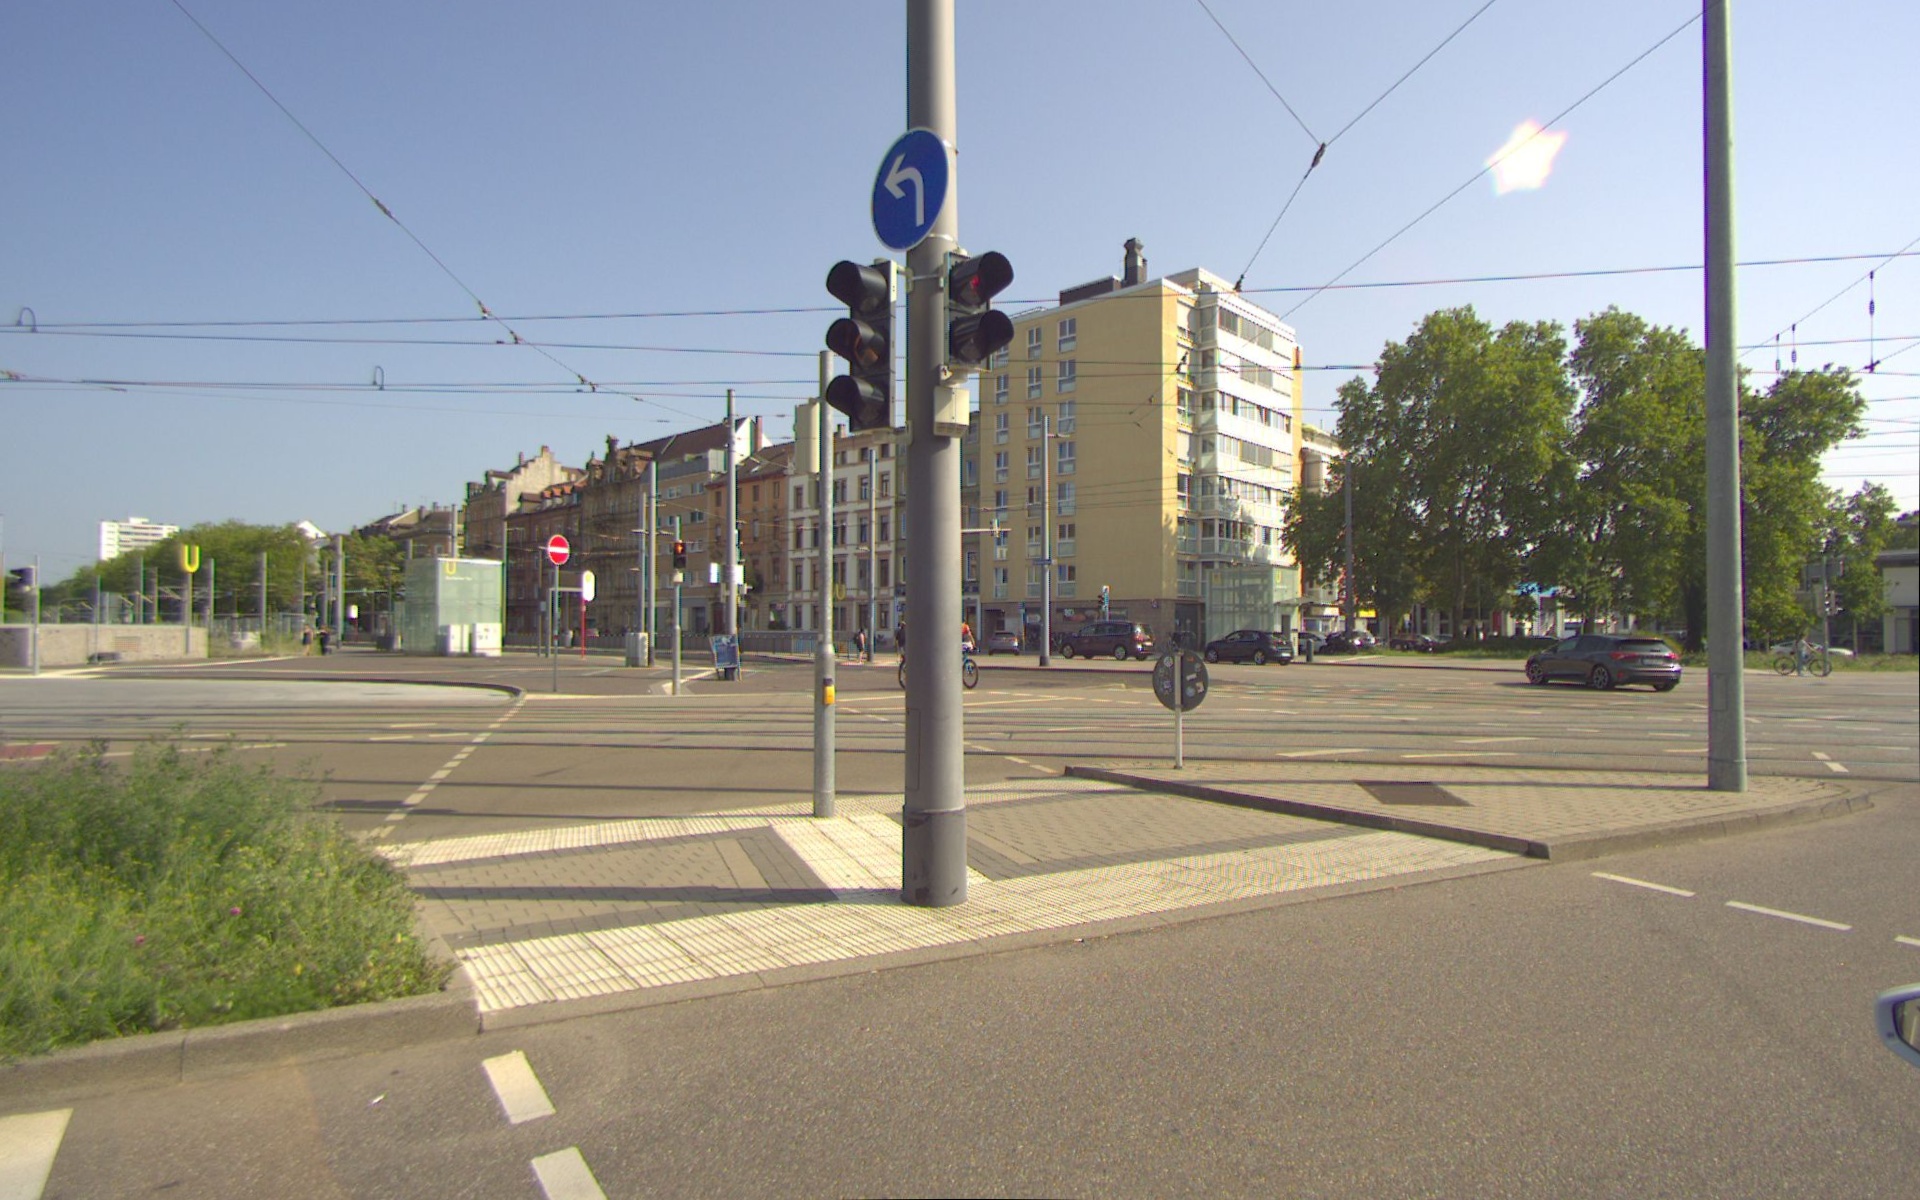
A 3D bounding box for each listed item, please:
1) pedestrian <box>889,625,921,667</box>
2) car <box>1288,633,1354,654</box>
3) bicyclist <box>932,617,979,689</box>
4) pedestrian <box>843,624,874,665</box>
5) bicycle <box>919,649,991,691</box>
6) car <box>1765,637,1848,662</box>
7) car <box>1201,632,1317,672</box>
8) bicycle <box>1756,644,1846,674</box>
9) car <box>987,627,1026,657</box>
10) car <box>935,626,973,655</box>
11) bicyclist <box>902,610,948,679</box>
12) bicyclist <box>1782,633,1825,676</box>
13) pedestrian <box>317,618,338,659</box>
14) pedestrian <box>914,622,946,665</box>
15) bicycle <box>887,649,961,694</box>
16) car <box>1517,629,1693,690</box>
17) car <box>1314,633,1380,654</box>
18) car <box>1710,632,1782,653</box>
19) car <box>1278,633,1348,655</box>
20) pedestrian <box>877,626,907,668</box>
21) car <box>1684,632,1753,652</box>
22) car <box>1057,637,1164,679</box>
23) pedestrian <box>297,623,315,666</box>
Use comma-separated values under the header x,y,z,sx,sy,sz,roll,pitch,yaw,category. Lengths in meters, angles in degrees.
x,y,z,sx,sy,sz,roll,pitch,yaw,category
-2.272,1.881,41.555,0.912,1.712,0.917,0,-2,42,pedestrian
25.353,3.020,70.571,4.109,1.372,1.570,-1,-2,41,car
-0.106,1.260,24.011,0.721,1.674,0.873,1,-2,-42,bicyclist
-4.312,1.862,42.618,0.912,1.712,0.917,0,-2,42,pedestrian
-0.127,1.654,24.023,0.720,0.944,1.797,2,-2,-41,bicycle
58.256,3.388,69.228,1.682,1.542,4.074,1,-2,-25,car
12.173,2.088,41.084,4.312,1.511,1.678,-1,-2,44,car
32.220,2.252,38.514,0.954,1.071,2.574,2,-2,-44,bicycle
2.686,2.421,58.670,1.961,1.700,4.550,1,-1,-2,car
-0.404,2.468,62.280,1.962,1.700,4.547,1,-1,-5,car
-0.812,1.009,23.019,0.721,1.547,0.787,1,-2,-42,bicyclist
32.287,2.073,38.453,0.954,1.547,1.151,2,0,-44,bicyclist
-28.214,1.696,44.783,0.744,1.806,0.701,1,-2,-34,pedestrian
-1.202,1.725,40.129,0.912,1.712,0.917,0,-2,42,pedestrian
-0.839,1.618,23.033,0.720,0.944,1.797,2,-2,-41,bicycle
17.062,1.525,26.864,1.802,1.454,4.551,1,-1,0,car
27.679,3.083,71.851,4.109,1.372,1.570,-1,-2,41,car
63.474,3.417,81.132,4.425,1.542,1.705,1,-1,1,car
23.152,2.870,65.939,4.109,1.372,1.570,-1,-2,41,car
-2.876,1.974,42.470,0.912,1.712,0.917,0,-2,42,pedestrian
62.960,3.477,83.397,4.425,1.542,1.705,1,-1,1,car
6.713,2.561,45.094,1.987,1.701,4.490,2,-2,-44,car
-28.834,1.955,44.278,0.646,1.891,0.715,1,-2,-34,pedestrian
